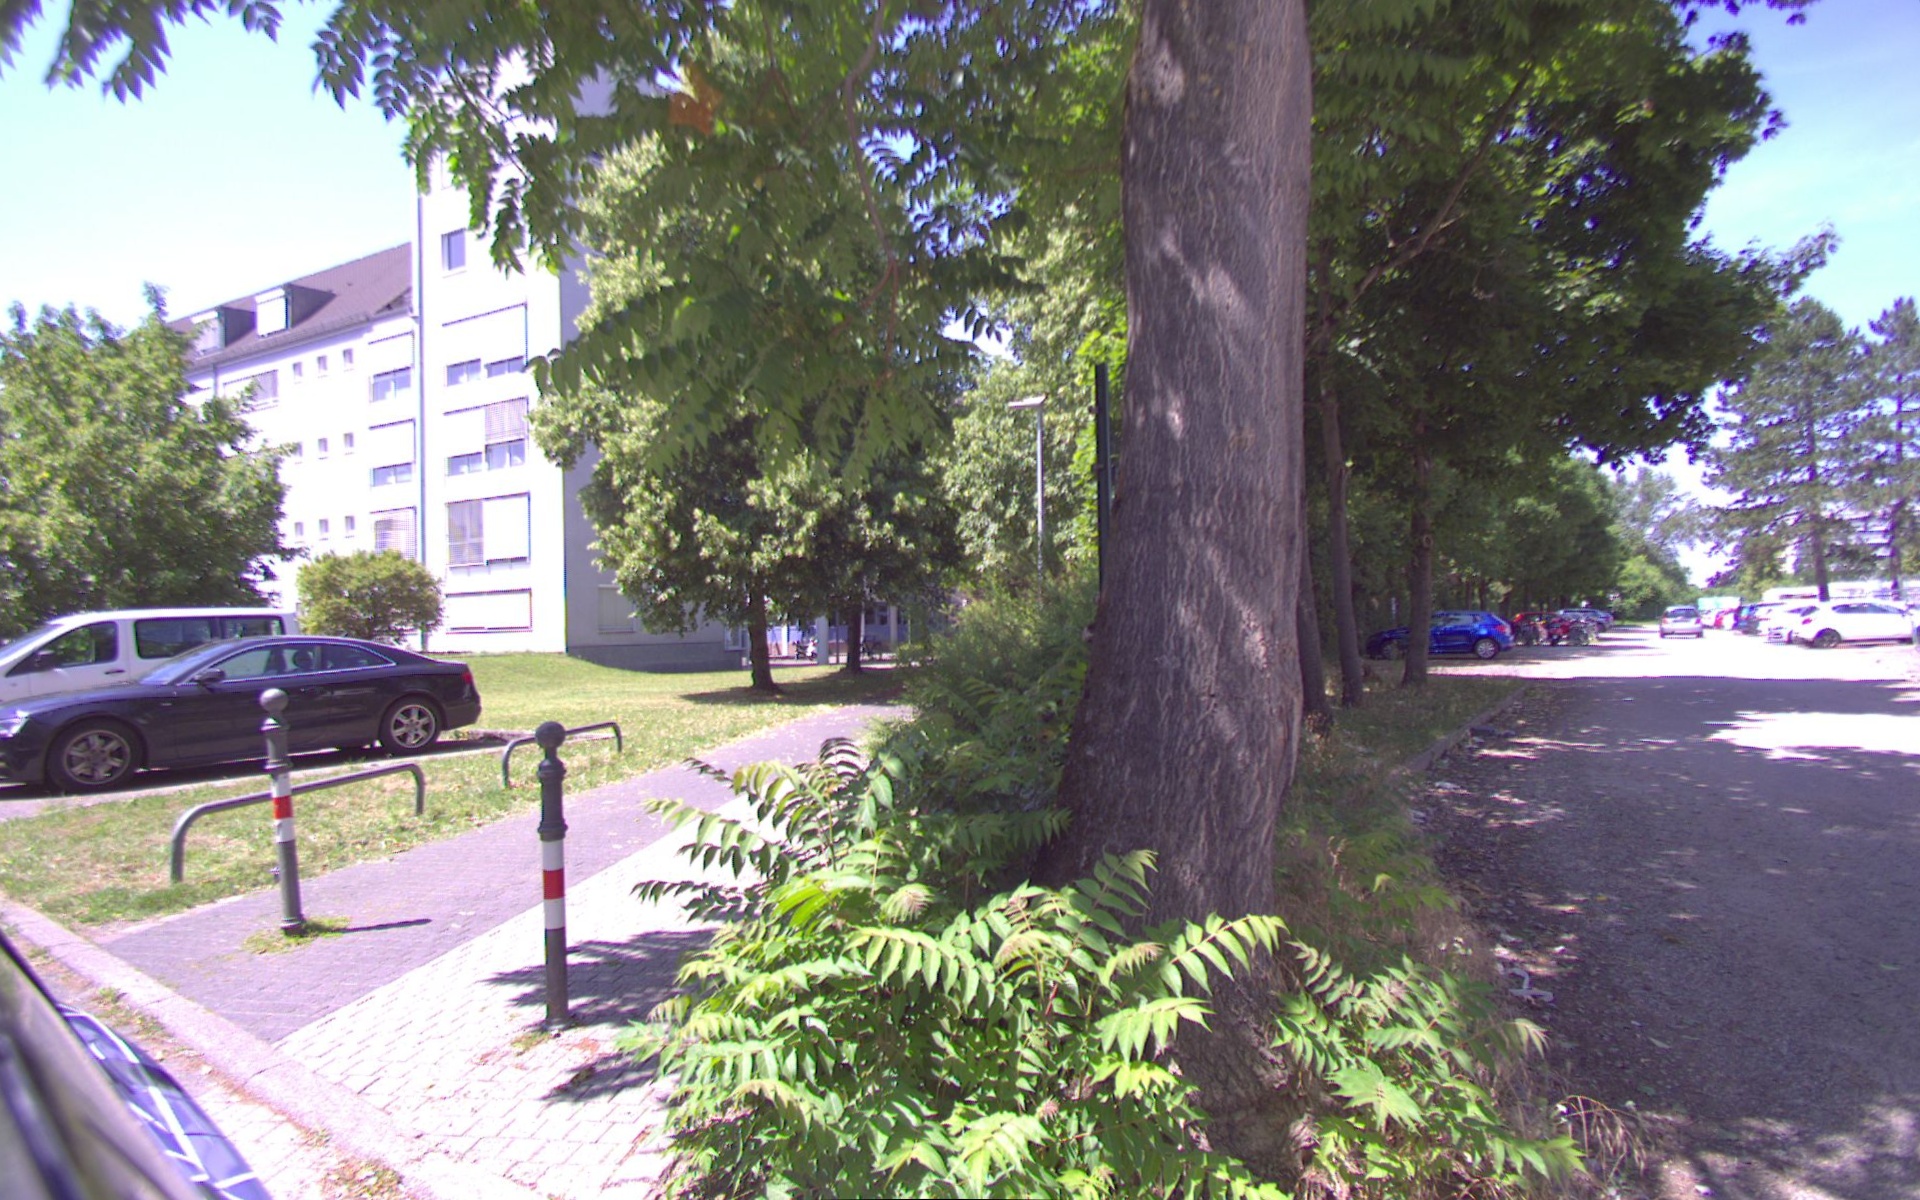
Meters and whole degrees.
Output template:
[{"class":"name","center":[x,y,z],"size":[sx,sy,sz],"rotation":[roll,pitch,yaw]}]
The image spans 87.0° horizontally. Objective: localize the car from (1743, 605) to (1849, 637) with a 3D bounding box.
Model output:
[{"class":"car","center":[40.500,1.025,49.117],"size":[3.708,1.505,1.440],"rotation":[-2,-2,29]}]

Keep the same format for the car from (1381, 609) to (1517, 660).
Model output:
[{"class":"car","center":[14.590,1.025,30.250],"size":[3.538,1.432,1.567],"rotation":[-2,-2,29]}]

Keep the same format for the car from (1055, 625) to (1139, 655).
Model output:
[{"class":"car","center":[7.809,2.265,57.737],"size":[4.328,1.622,1.912],"rotation":[-2,-2,33]}]

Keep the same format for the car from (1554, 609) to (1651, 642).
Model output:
[{"class":"car","center":[28.935,1.150,45.697],"size":[3.613,1.425,1.374],"rotation":[-2,-2,31]}]

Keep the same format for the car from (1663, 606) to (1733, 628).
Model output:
[{"class":"car","center":[51.255,1.190,70.342],"size":[3.708,1.505,1.440],"rotation":[-2,-2,29]}]

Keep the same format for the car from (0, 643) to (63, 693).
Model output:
[{"class":"car","center":[-32.649,2.278,33.326],"size":[1.607,1.581,4.402],"rotation":[-2,-1,29]}]

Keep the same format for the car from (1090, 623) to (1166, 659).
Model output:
[{"class":"car","center":[10.068,2.445,60.709],"size":[3.988,2.029,1.977],"rotation":[-2,-2,33]}]

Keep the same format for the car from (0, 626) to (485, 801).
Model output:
[{"class":"car","center":[-7.598,1.042,10.523],"size":[2.020,1.391,4.388],"rotation":[-5,-3,37]}]

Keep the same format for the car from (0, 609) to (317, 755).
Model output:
[{"class":"car","center":[-12.500,1.102,14.840],"size":[2.064,1.898,4.802],"rotation":[-2,-2,37]}]

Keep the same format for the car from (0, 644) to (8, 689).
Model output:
[{"class":"car","center":[-35.290,2.339,34.253],"size":[1.607,1.581,4.182],"rotation":[-2,-1,29]}]

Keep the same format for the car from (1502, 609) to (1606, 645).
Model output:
[{"class":"car","center":[24.270,1.127,41.443],"size":[3.613,1.425,1.374],"rotation":[-2,-2,31]}]

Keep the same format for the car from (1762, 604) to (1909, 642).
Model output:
[{"class":"car","center":[31.257,0.848,36.281],"size":[3.708,1.287,1.440],"rotation":[-2,-2,29]}]

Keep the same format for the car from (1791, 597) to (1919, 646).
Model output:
[{"class":"car","center":[28.622,0.678,31.721],"size":[3.708,1.505,1.440],"rotation":[-2,-2,29]}]

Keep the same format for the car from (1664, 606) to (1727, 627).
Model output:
[{"class":"car","center":[56.072,1.269,77.215],"size":[3.708,1.505,1.440],"rotation":[-2,-2,29]}]

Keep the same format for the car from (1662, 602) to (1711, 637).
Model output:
[{"class":"car","center":[36.294,0.969,50.522],"size":[1.808,1.668,3.875],"rotation":[-2,-2,38]}]

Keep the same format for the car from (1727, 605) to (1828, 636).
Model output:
[{"class":"car","center":[41.091,1.040,50.979],"size":[3.708,1.505,1.440],"rotation":[-2,-2,29]}]

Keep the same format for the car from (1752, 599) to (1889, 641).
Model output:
[{"class":"car","center":[32.634,0.767,38.508],"size":[3.708,1.505,1.440],"rotation":[-2,-2,29]}]

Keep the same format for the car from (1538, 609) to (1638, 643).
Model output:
[{"class":"car","center":[27.231,1.138,43.993],"size":[3.613,1.425,1.374],"rotation":[-2,-2,31]}]

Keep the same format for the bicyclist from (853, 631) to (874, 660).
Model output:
[{"class":"bicyclist","center":[-3.644,1.708,38.148],"size":[0.517,1.053,0.516],"rotation":[-6,-5,37]}]

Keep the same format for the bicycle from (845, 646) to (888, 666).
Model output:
[{"class":"bicycle","center":[-3.529,2.101,38.215],"size":[0.733,0.646,1.597],"rotation":[-5,-4,36]}]

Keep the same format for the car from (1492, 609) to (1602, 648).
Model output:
[{"class":"car","center":[22.699,1.119,39.244],"size":[3.613,1.425,1.439],"rotation":[-2,-2,31]}]
